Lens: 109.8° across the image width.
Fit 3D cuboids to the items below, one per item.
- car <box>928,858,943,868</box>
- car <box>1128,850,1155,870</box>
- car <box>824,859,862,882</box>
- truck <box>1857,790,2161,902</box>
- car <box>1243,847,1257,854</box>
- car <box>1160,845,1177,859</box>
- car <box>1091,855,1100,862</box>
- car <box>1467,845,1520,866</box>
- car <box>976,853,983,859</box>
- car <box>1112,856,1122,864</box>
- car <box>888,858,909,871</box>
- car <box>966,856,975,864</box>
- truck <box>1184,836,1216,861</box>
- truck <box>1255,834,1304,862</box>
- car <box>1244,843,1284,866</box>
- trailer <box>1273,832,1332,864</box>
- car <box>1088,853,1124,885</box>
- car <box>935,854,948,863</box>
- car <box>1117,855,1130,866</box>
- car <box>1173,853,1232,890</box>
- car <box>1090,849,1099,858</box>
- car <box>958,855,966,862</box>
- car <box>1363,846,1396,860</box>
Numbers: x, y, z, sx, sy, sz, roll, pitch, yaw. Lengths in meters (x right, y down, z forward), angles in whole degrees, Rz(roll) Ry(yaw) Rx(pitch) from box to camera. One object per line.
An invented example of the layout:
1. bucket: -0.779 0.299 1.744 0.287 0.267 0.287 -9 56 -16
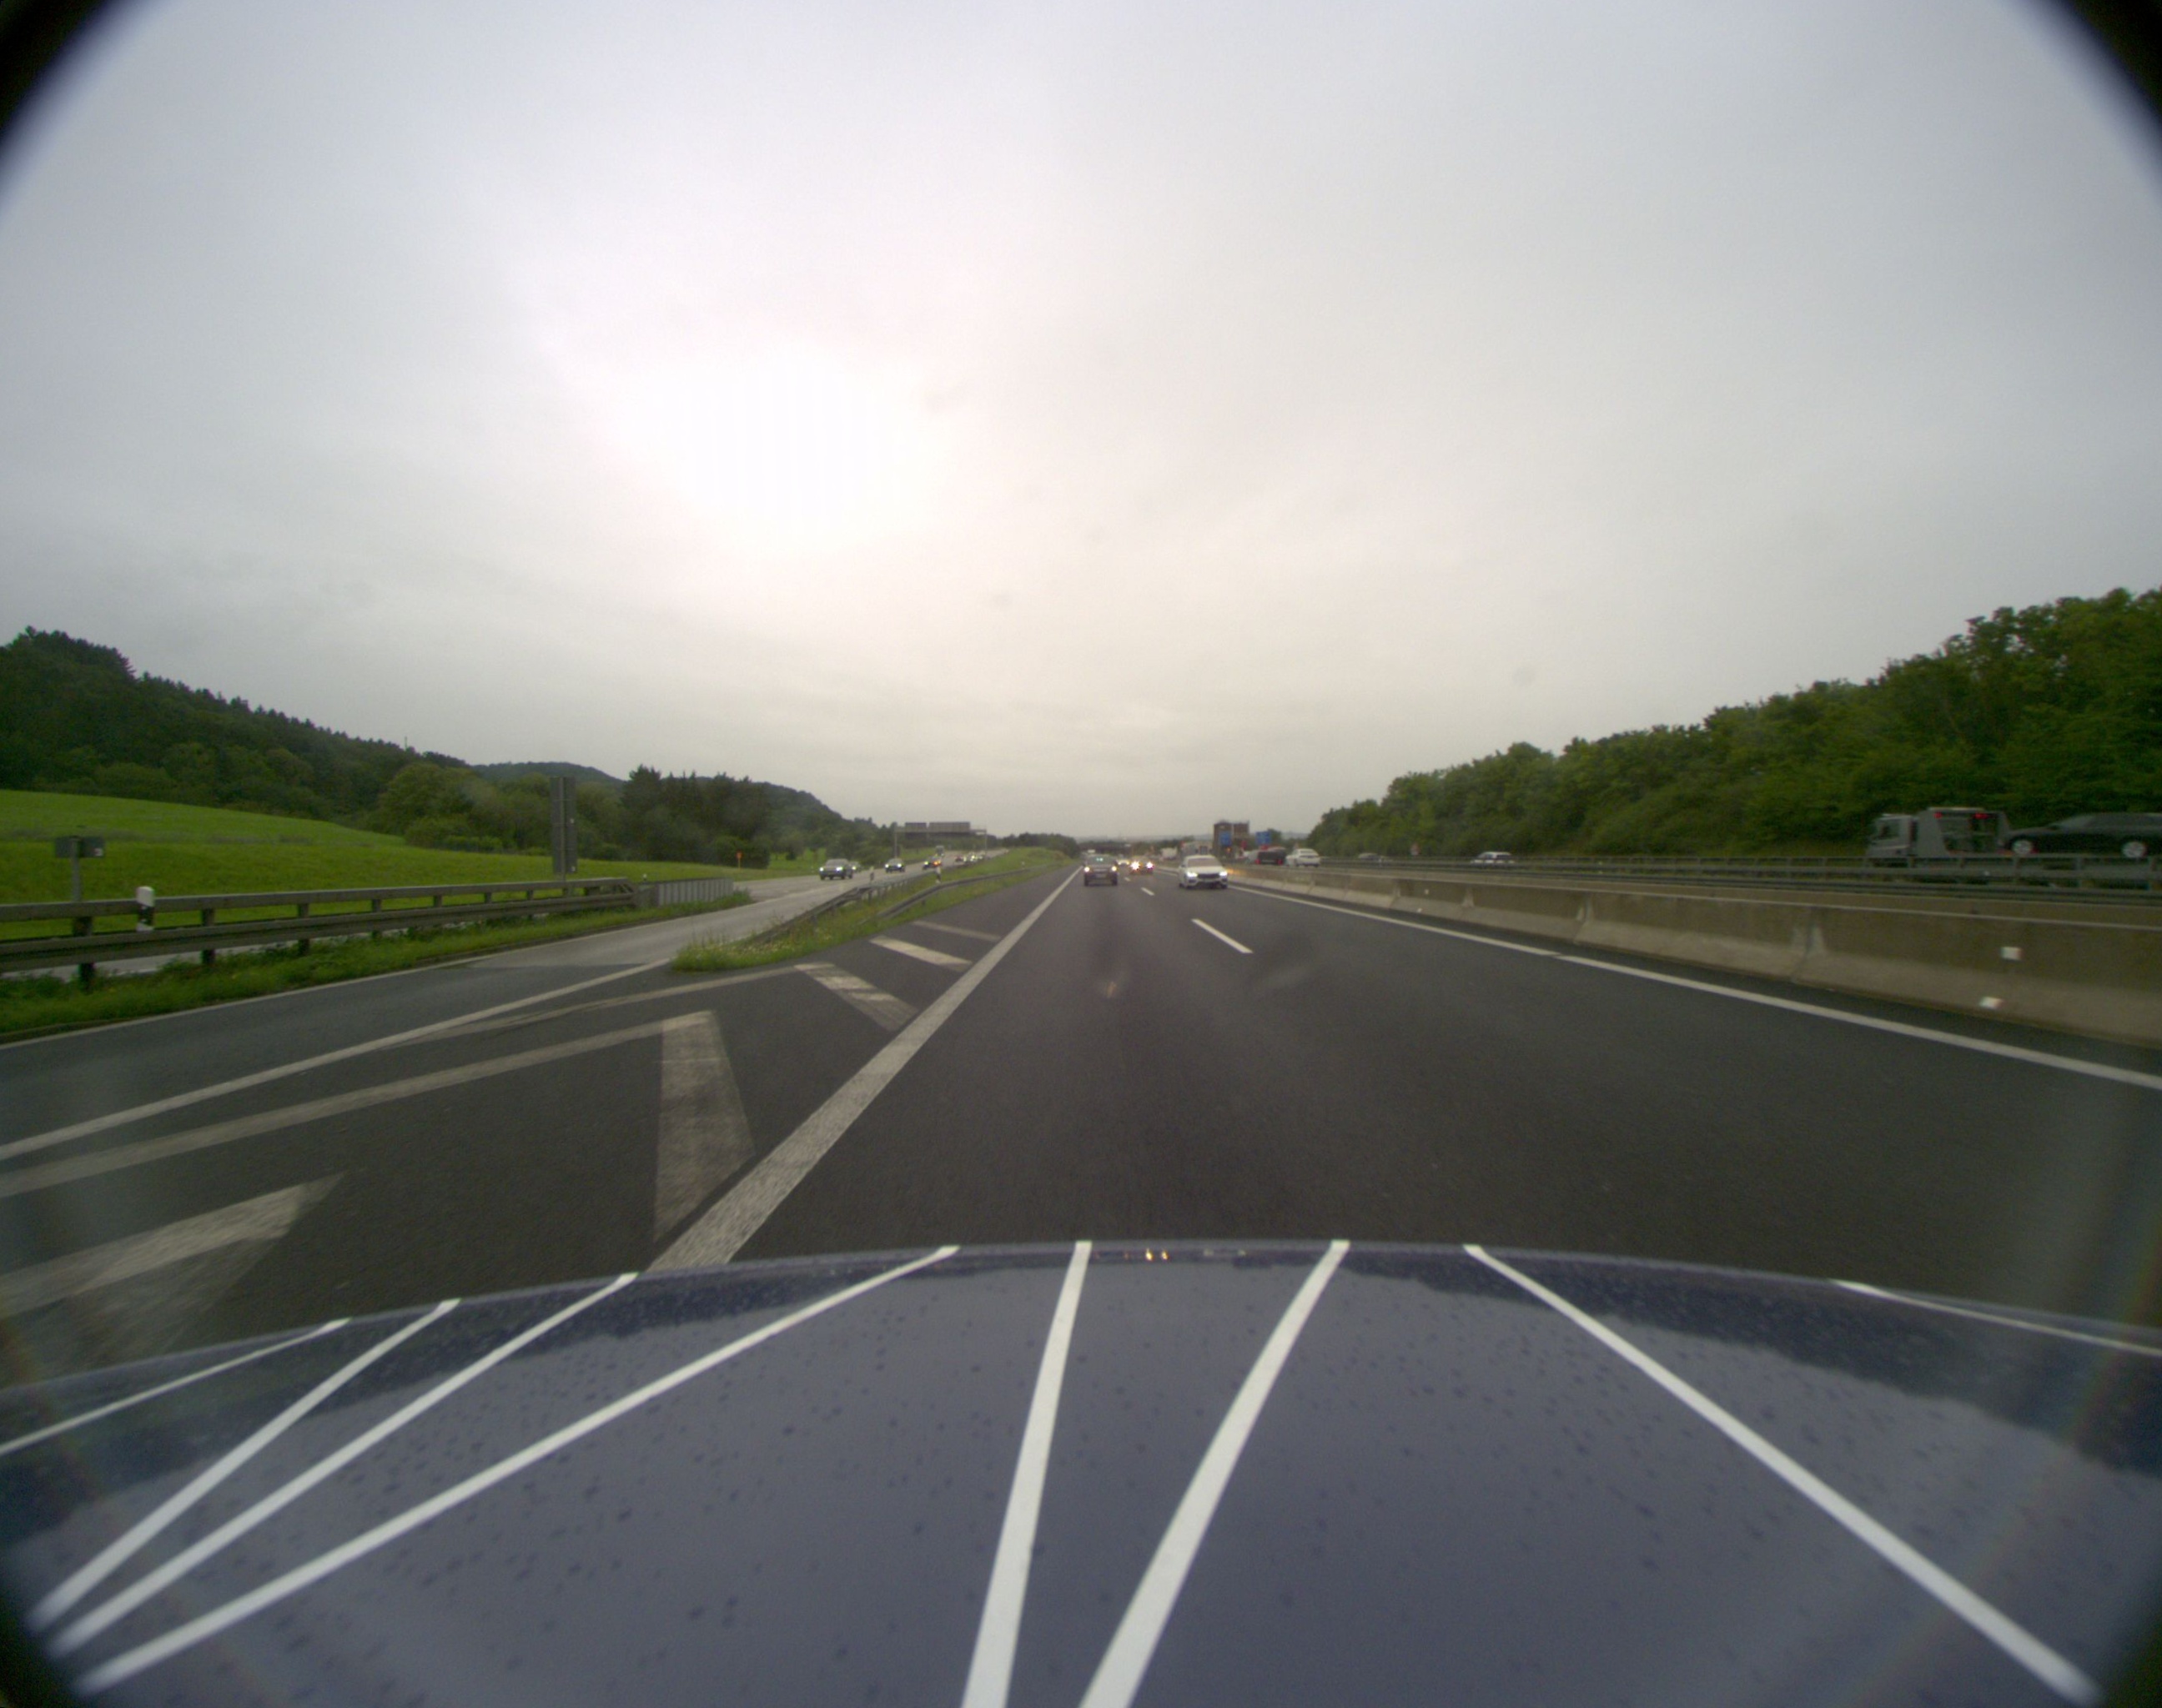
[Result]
1. car: -21.213 1.272 110.943 1.868 1.349 4.563 -2 1 -8
2. car: 4.944 0.476 62.541 1.726 1.481 4.566 -2 1 0
3. car: -19.262 1.302 61.618 1.774 1.600 4.641 -2 1 -3
4. truck: 32.642 -0.328 26.054 2.858 3.202 9.078 -2 1 1
5. car: 35.263 -0.802 159.013 1.823 1.448 4.777 -2 1 0
6. car: 14.923 -0.394 130.046 2.135 2.309 5.691 -2 1 0
7. car: 3.343 1.000 178.769 1.919 1.481 4.566 -2 1 0
8. car: 33.316 0.128 61.523 1.662 1.572 4.777 -2 1 0
9. car: -29.919 0.665 224.525 1.915 1.684 4.716 -2 1 -6
10. car: 7.145 1.131 150.687 1.726 1.481 4.566 -2 1 0
11. car: -21.563 1.209 89.803 1.671 1.375 4.124 -2 1 -3
12. car: -25.544 1.317 176.093 1.915 1.684 4.716 -2 1 -6
13. truck: 19.813 -0.907 127.446 2.933 3.855 16.088 -2 1 1
14. truck: 18.035 -0.592 69.494 2.582 2.327 7.341 -2 1 1
15. car: 14.248 0.041 59.492 1.875 1.672 4.777 -2 1 0
16. trailer: 17.887 -0.511 62.012 2.582 2.327 7.946 -2 1 1
17. car: 1.379 0.767 41.416 1.812 1.571 3.835 -2 1 2
18. car: -26.354 0.856 143.768 1.915 1.684 4.716 -2 1 -5
19. car: 6.538 0.983 117.078 1.725 1.481 4.567 -2 1 1
20. car: 5.427 0.737 34.521 1.823 1.448 4.777 -2 1 0
21. car: 3.325 -0.151 184.420 2.016 1.994 4.566 -2 1 0
22. car: -30.391 1.078 194.097 1.915 1.684 4.716 -2 1 -6
23. car: 33.305 -0.162 84.893 1.823 1.448 4.777 -2 1 0
